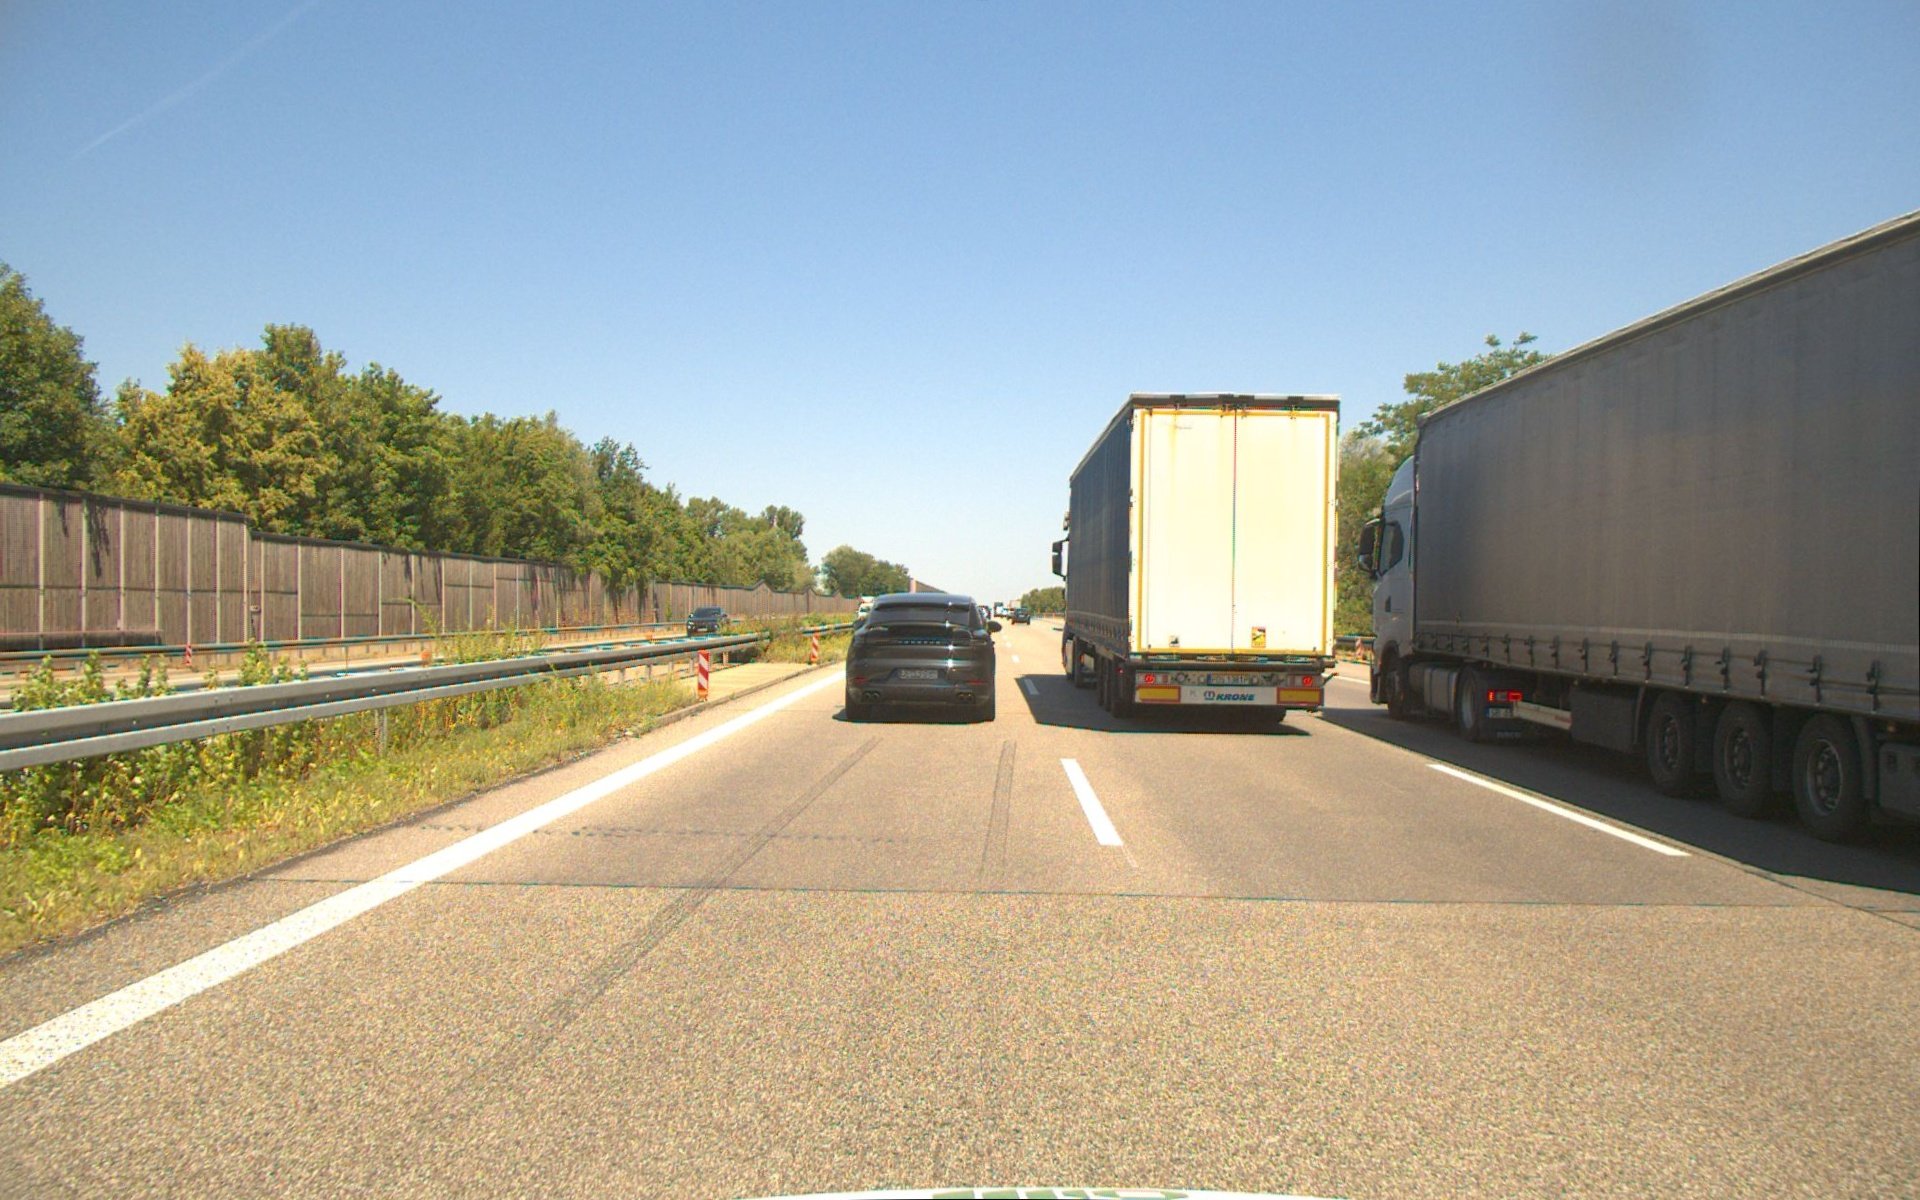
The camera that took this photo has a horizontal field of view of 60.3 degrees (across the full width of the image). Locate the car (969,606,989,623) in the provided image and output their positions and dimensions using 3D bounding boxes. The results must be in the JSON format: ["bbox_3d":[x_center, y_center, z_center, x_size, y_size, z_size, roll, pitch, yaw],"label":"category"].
[{"bbox_3d":[1.826,1.403,160.107,1.816,1.512,4.001,-2,0,2],"label":"car"}]

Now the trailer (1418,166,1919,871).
[{"bbox_3d":[7.215,-0.492,14.798,2.648,4.289,13.212,-1,0,0],"label":"trailer"}]

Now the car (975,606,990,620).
[{"bbox_3d":[2.754,1.591,203.177,1.817,1.645,4.000,-2,0,0],"label":"car"}]

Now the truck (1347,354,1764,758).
[{"bbox_3d":[7.273,-0.467,21.575,2.636,4.289,7.838,-1,0,0],"label":"truck"}]

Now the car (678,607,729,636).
[{"bbox_3d":[-13.680,1.115,88.446,1.919,1.458,4.880,-1,0,0],"label":"car"}]

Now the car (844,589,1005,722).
[{"bbox_3d":[-0.436,0.688,23.512,2.002,1.653,5.771,0,0,0],"label":"car"}]

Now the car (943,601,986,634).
[{"bbox_3d":[0.263,0.852,82.097,1.903,1.533,5.822,-1,0,2],"label":"car"}]

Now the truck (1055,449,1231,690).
[{"bbox_3d":[3.389,-0.523,32.352,2.672,4.157,7.277,-1,0,0],"label":"truck"}]

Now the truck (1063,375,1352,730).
[{"bbox_3d":[3.328,-0.544,26.233,2.651,4.157,13.474,-1,0,0],"label":"truck"}]

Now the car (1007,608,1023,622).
[{"bbox_3d":[6.764,1.859,203.477,1.817,1.645,3.999,-2,0,-1],"label":"car"}]

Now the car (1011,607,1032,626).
[{"bbox_3d":[5.507,1.506,148.936,1.817,1.645,4.000,1,0,1],"label":"car"}]
